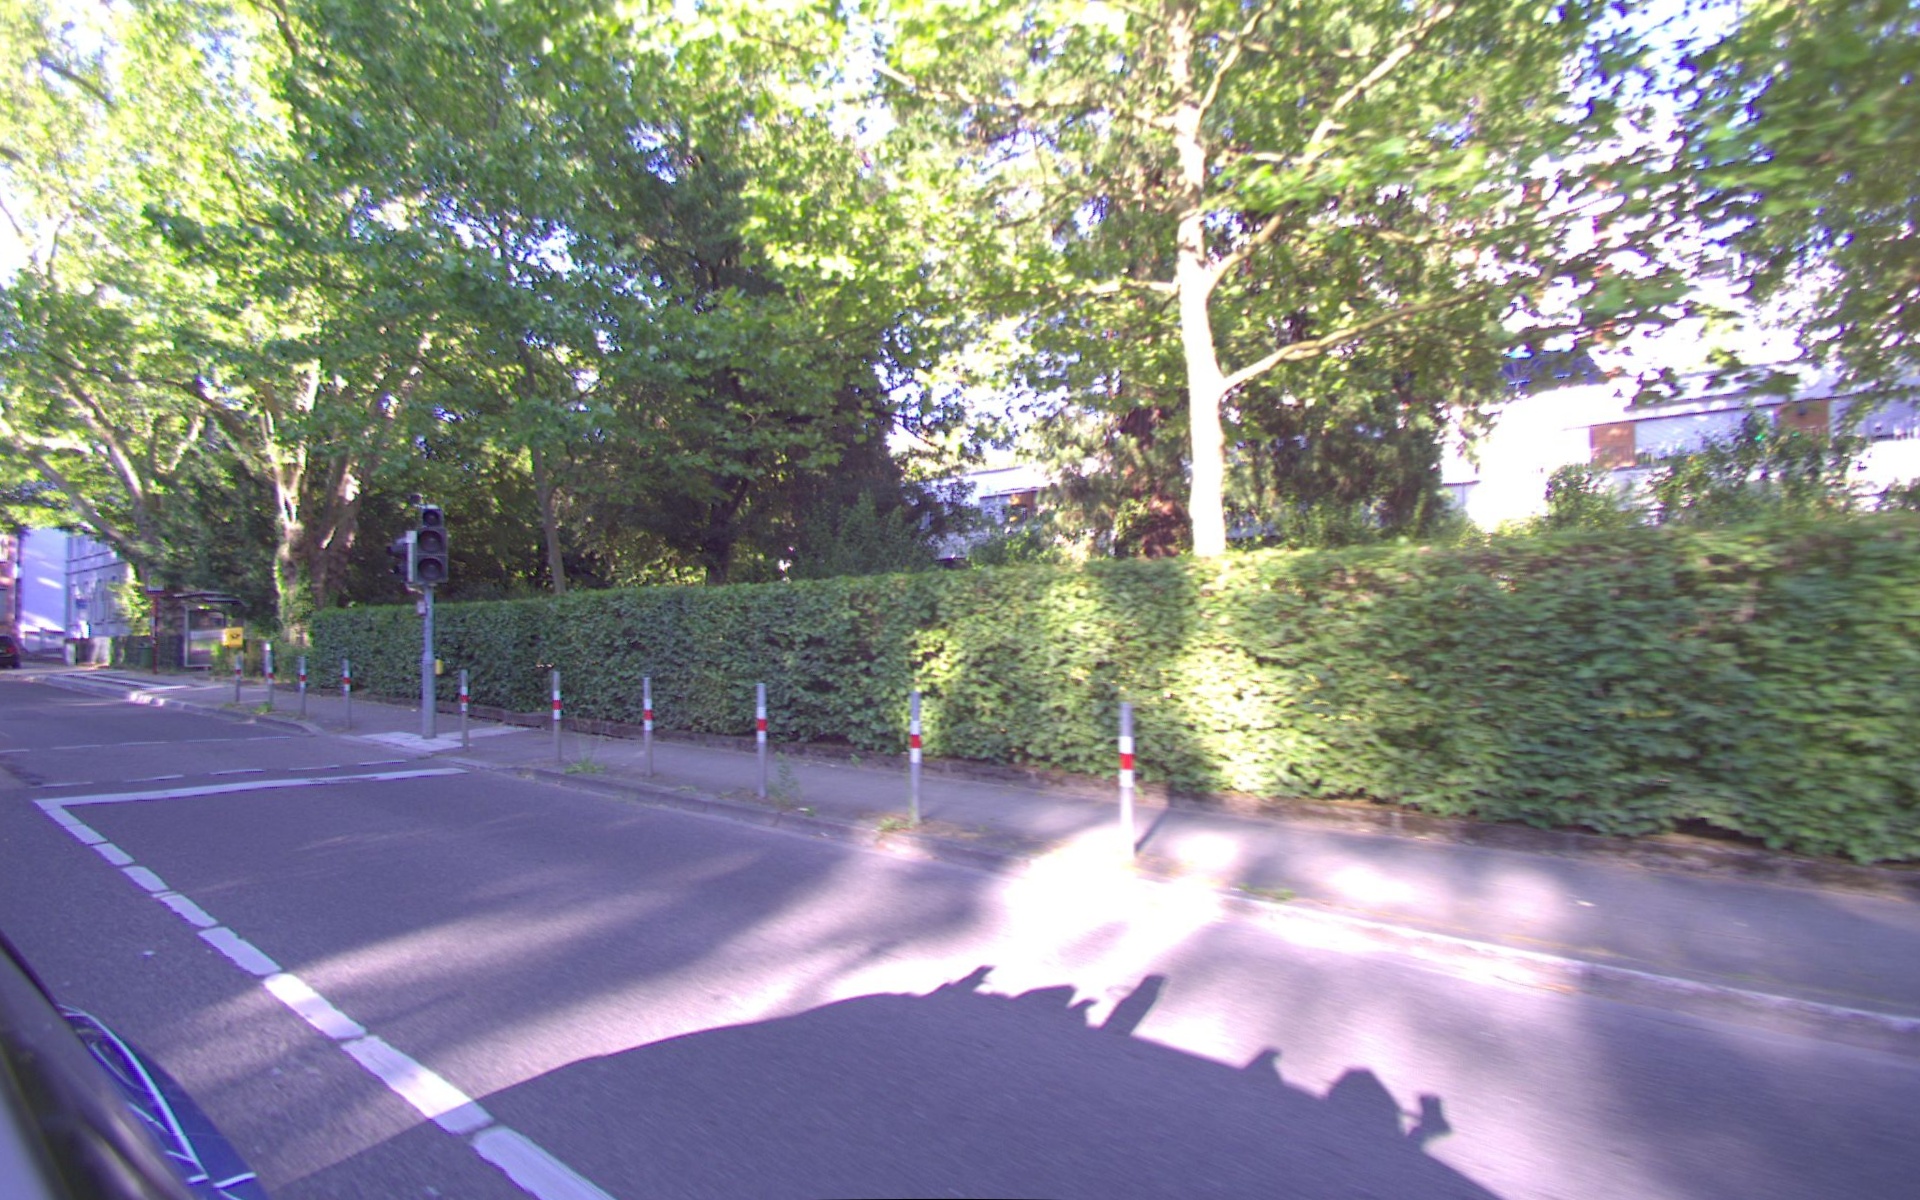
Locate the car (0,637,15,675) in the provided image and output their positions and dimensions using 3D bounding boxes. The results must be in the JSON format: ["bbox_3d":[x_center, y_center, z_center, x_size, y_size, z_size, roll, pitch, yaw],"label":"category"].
[{"bbox_3d":[-38.156,2.210,39.275,3.612,1.445,1.669,-2,1,39],"label":"car"}]
